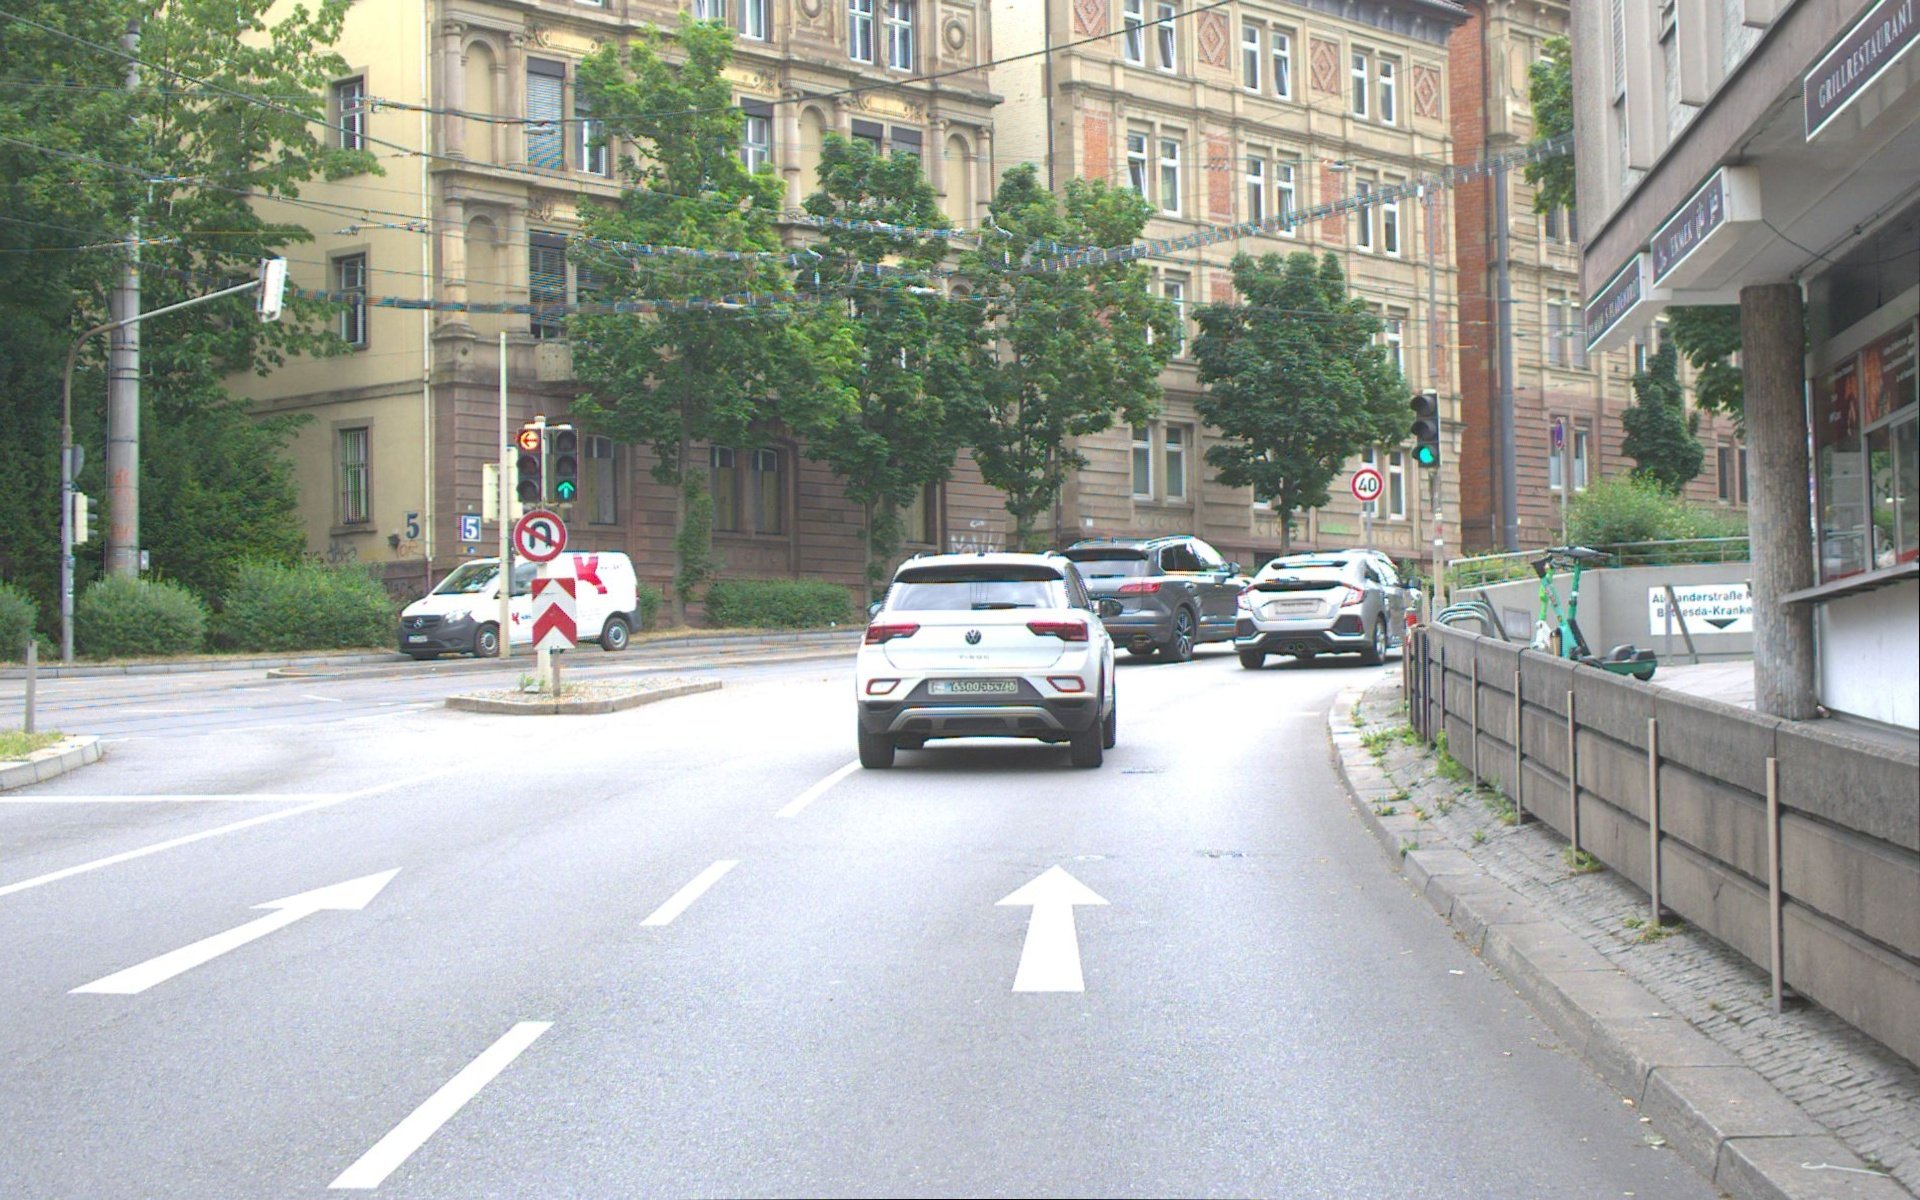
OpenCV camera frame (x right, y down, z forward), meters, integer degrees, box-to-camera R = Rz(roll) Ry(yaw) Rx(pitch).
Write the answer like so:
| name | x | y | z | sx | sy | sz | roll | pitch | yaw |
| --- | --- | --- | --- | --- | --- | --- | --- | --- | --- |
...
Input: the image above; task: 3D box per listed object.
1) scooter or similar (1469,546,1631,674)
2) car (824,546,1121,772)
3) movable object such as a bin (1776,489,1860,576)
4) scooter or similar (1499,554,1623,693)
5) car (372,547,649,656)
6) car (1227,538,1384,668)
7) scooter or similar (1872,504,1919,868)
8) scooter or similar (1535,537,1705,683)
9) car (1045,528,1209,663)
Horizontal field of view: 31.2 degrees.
| name | x | y | z | sx | sy | sz | roll | pitch | yaw |
| --- | --- | --- | --- | --- | --- | --- | --- | --- | --- |
| scooter or similar | 5.627 | 0.086 | 32.791 | 1.441 | 1.178 | 0.583 | -1 | 0 | -27 |
| car | 0.176 | 0.405 | 26.100 | 1.938 | 1.561 | 4.045 | -1 | 0 | 5 |
| movable object such as a bin | 28.781 | -2.262 | 115.309 | 1.997 | 2.828 | 2.026 | -3 | -1 | 35 |
| scooter or similar | 5.211 | 0.198 | 29.798 | 1.007 | 1.178 | 0.376 | -1 | 0 | -27 |
| car | -8.255 | 0.018 | 63.548 | 1.998 | 1.843 | 4.981 | -4 | -2 | 39 |
| car | 4.416 | 0.038 | 44.085 | 1.903 | 1.568 | 3.833 | 1 | 0 | 6 |
| scooter or similar | 4.210 | 0.342 | 14.086 | 0.668 | 1.470 | 1.178 | -1 | 0 | 3 |
| scooter or similar | 5.997 | 0.084 | 31.228 | 1.441 | 1.250 | 0.557 | -3 | 1 | -27 |
| car | 2.315 | -0.083 | 46.788 | 1.840 | 1.734 | 3.999 | -1 | 1 | 8 |
